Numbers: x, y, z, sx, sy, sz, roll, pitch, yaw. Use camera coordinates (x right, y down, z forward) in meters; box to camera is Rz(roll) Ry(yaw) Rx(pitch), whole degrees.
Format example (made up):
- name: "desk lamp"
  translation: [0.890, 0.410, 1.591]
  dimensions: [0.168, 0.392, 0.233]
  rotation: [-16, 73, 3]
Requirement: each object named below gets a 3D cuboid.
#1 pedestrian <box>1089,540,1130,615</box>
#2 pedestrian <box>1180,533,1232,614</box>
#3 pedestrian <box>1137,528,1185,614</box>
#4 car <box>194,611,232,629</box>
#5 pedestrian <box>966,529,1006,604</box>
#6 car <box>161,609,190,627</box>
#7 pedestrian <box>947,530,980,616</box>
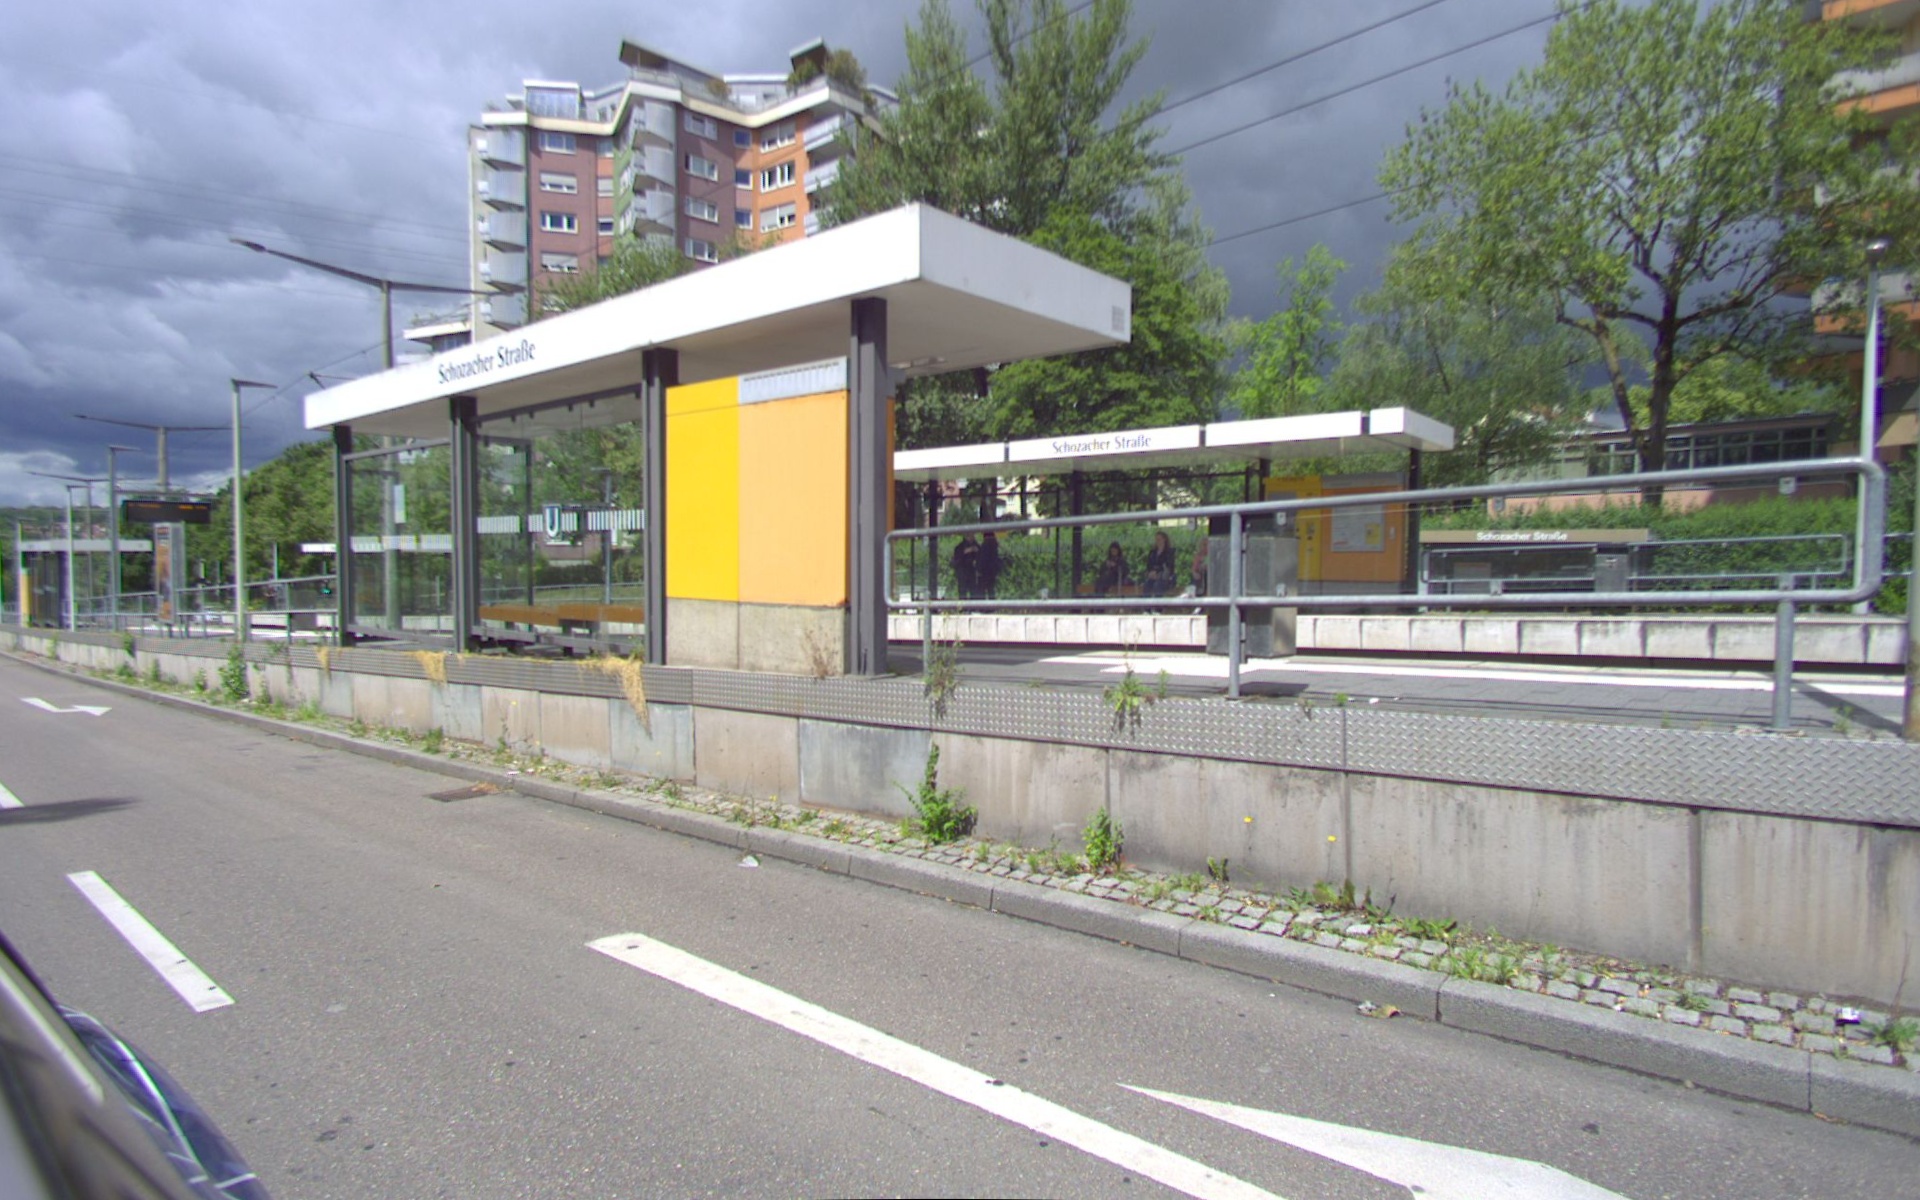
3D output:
- name: "pedestrian"
  translation: [2.549, -0.370, 17.231]
  dimensions: [0.541, 1.246, 0.516]
  rotation: [-1, 0, 29]
- name: "pedestrian"
  translation: [3.902, -0.405, 16.045]
  dimensions: [0.517, 1.246, 0.734]
  rotation: [-1, 0, 41]
- name: "pedestrian"
  translation: [3.314, -0.461, 16.683]
  dimensions: [0.506, 1.379, 0.637]
  rotation: [-1, -1, 41]
- name: "car"
  translation: [-59.621, 1.592, 80.743]
  dimensions: [3.999, 1.429, 1.637]
  rotation: [-1, 0, 42]
- name: "pedestrian"
  translation: [0.496, -0.634, 19.232]
  dimensions: [0.520, 1.390, 0.537]
  rotation: [2, 1, 33]
- name: "car"
  translation: [-71.642, 1.639, 92.377]
  dimensions: [1.635, 1.524, 3.740]
  rotation: [-1, 0, -45]
- name: "pedestrian"
  translation: [0.073, -0.524, 19.800]
  dimensions: [0.558, 1.657, 0.520]
  rotation: [-1, 0, 9]
